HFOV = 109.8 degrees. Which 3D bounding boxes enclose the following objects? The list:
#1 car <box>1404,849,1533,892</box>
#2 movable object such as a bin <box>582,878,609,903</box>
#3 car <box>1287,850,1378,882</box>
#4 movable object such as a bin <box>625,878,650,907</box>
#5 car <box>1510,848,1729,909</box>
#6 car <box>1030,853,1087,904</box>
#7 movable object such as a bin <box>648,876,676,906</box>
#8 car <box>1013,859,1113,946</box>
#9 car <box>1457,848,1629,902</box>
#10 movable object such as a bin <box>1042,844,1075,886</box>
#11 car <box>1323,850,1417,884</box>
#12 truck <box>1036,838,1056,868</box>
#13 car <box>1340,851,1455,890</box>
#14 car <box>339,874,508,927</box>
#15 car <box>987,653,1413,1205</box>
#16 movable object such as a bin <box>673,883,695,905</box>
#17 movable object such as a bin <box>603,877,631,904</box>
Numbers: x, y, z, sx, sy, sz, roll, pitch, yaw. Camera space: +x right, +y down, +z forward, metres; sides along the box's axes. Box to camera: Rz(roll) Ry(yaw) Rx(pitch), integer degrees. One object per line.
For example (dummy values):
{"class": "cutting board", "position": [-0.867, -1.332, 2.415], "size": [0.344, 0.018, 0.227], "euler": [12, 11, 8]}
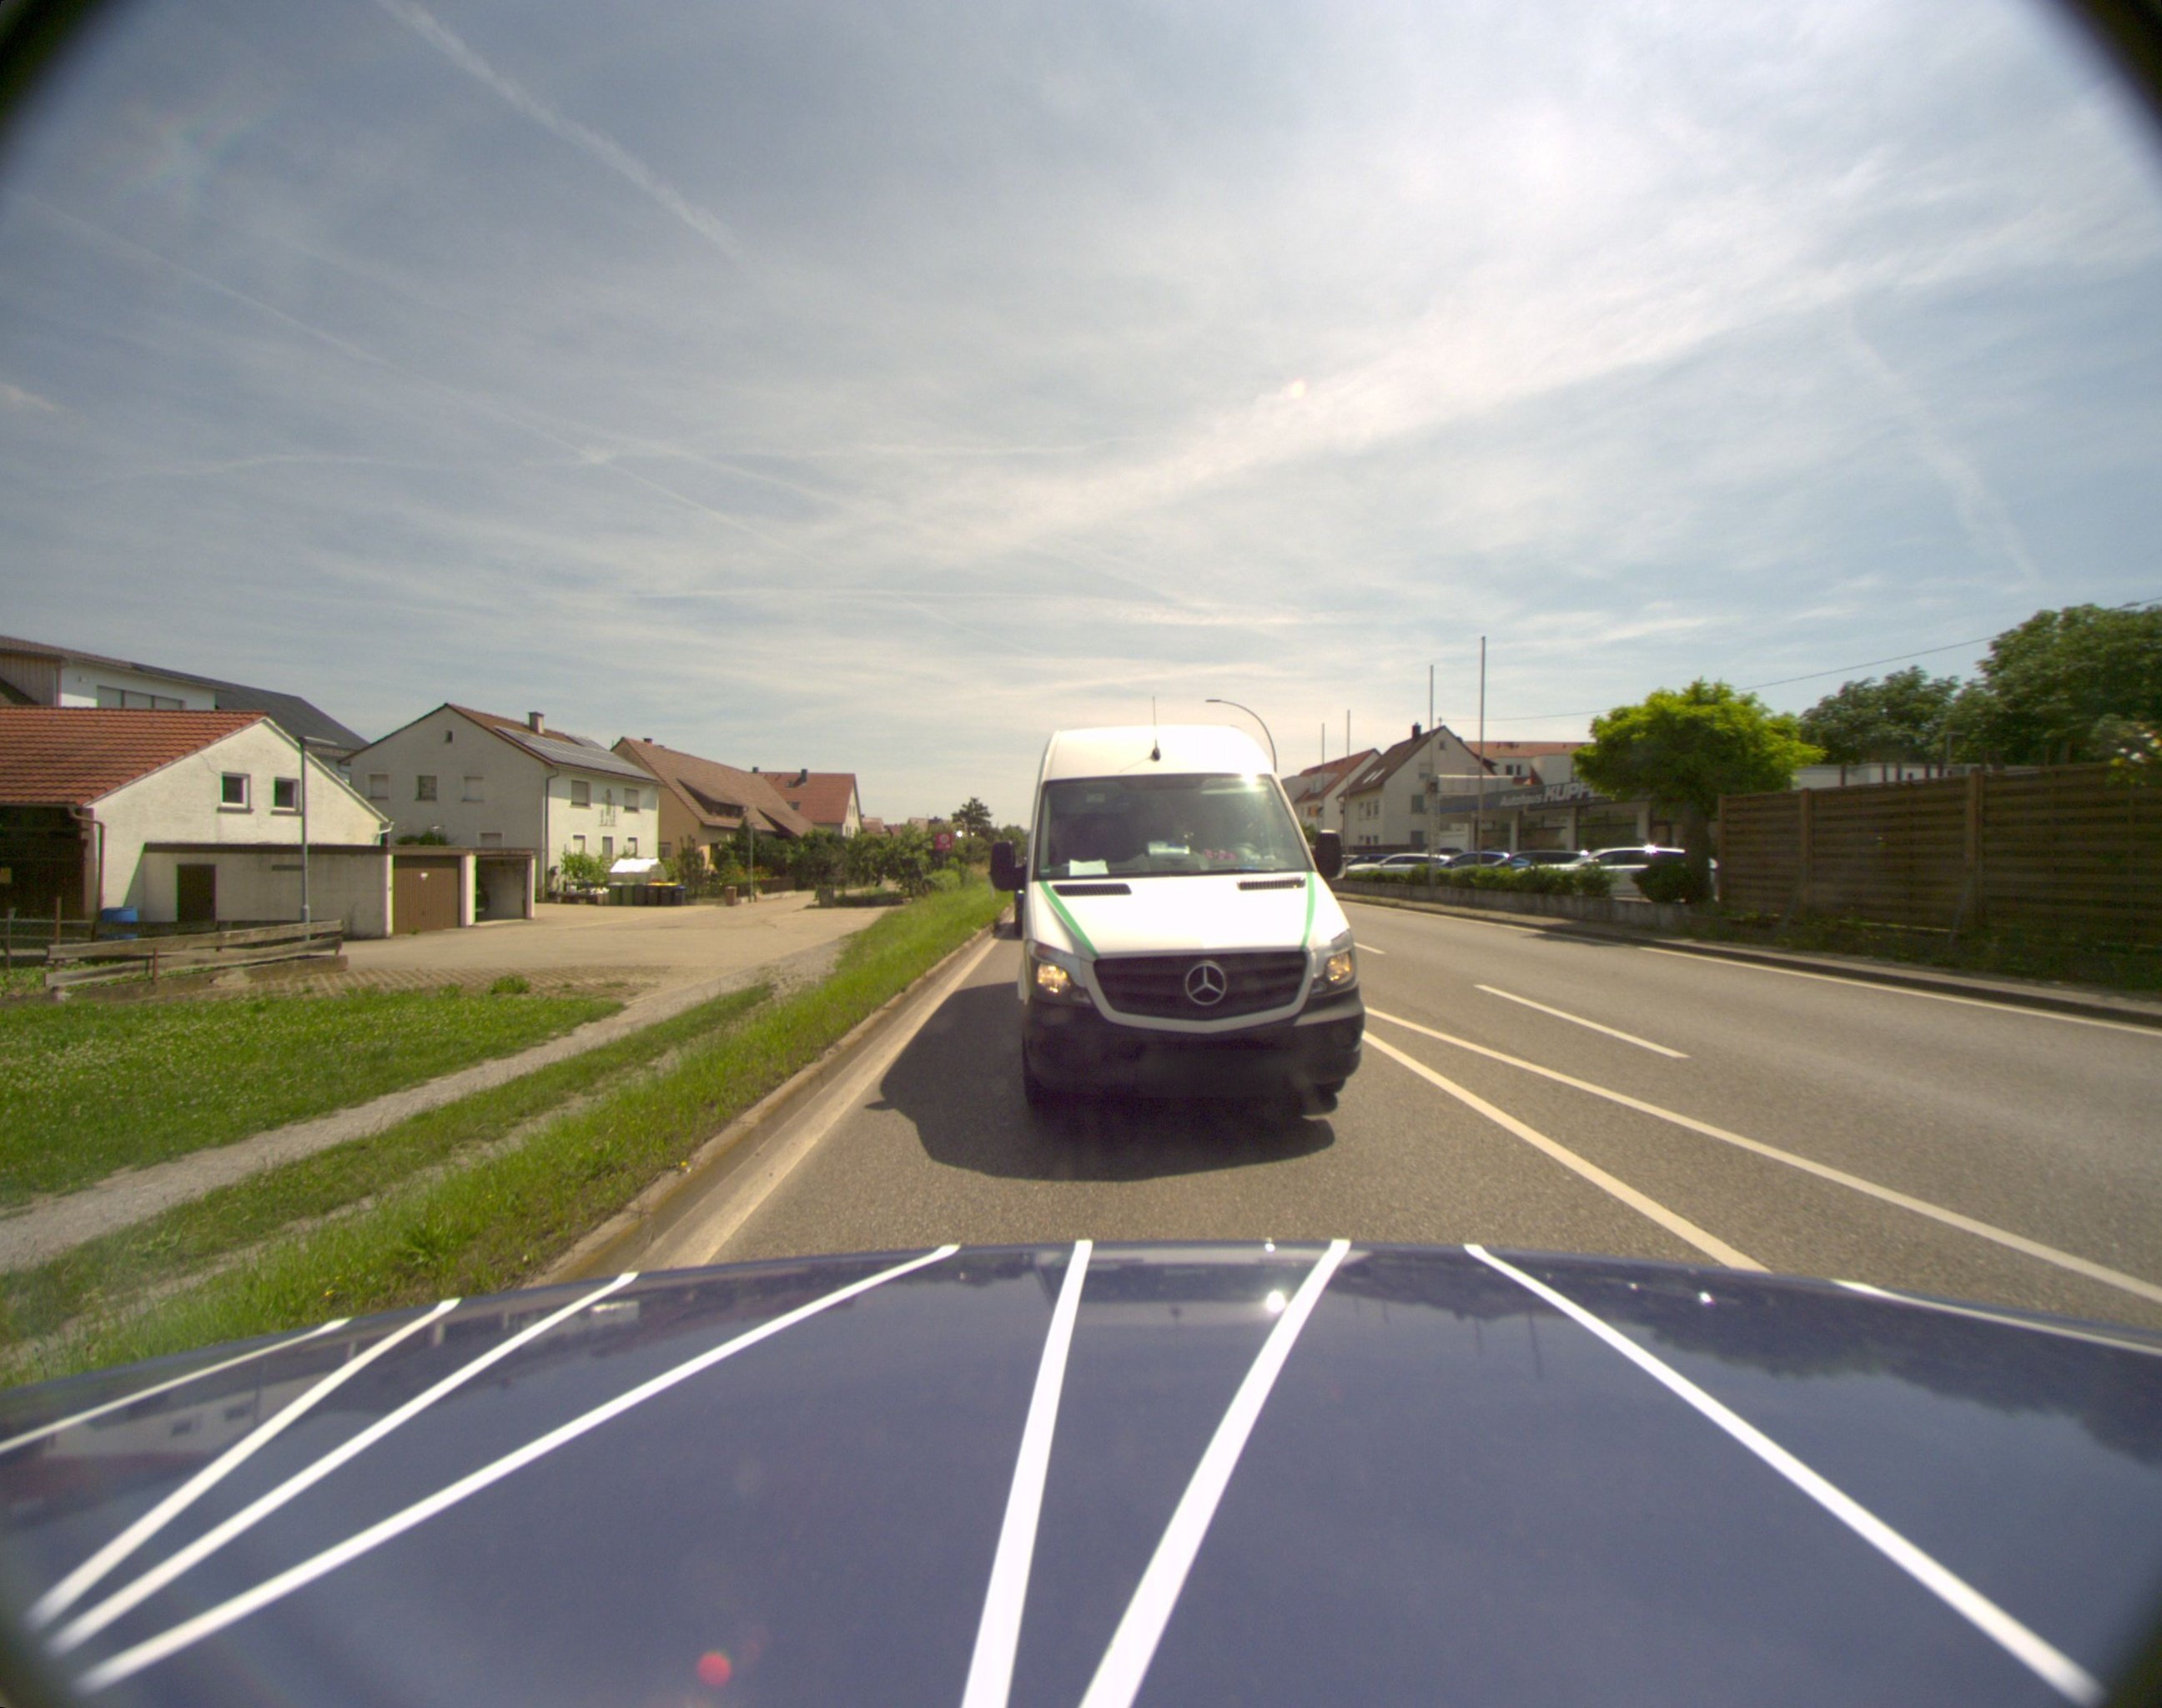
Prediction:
{"class": "car", "position": [13.834, 0.598, 27.371], "size": [3.990, 1.433, 1.857], "euler": [-2, 0, 24]}
{"class": "movable object such as a bin", "position": [-23.341, 1.737, 36.521], "size": [0.740, 1.149, 0.830], "euler": [-2, 0, -2]}
{"class": "car", "position": [13.260, 0.633, 40.058], "size": [4.255, 1.521, 2.003], "euler": [-2, 0, 25]}
{"class": "movable object such as a bin", "position": [-21.491, 1.861, 36.824], "size": [0.678, 1.330, 0.820], "euler": [-2, 0, -2]}
{"class": "car", "position": [13.732, 0.612, 19.716], "size": [4.329, 1.451, 1.858], "euler": [-1, 0, 23]}
{"class": "car", "position": [-0.781, 0.796, 26.497], "size": [1.824, 1.637, 3.901], "euler": [-1, 0, -2]}
{"class": "movable object such as a bin", "position": [-20.149, 1.786, 36.539], "size": [0.765, 1.362, 0.946], "euler": [-2, 0, -2]}
{"class": "car", "position": [-0.378, 0.899, 15.944], "size": [1.824, 1.574, 3.901], "euler": [-1, 0, -2]}
{"class": "car", "position": [14.060, 0.651, 23.429], "size": [4.251, 1.536, 1.853], "euler": [-2, 0, 22]}
{"class": "movable object such as a bin", "position": [-1.497, 0.724, 53.044], "size": [1.998, 2.710, 5.419], "euler": [-1, 0, 0]}
{"class": "car", "position": [13.664, 0.610, 35.928], "size": [3.990, 1.455, 2.003], "euler": [-2, 0, 25]}
{"class": "truck", "position": [-4.635, -0.124, 101.560], "size": [2.506, 3.847, 5.496], "euler": [-1, 0, -2]}
{"class": "car", "position": [13.248, 0.690, 31.796], "size": [4.303, 1.510, 2.003], "euler": [-2, 0, 26]}
{"class": "car", "position": [-21.735, 1.513, 25.245], "size": [3.997, 1.594, 1.826], "euler": [-1, 0, 0]}
{"class": "car", "position": [0.516, 0.362, 6.453], "size": [1.978, 2.584, 5.633], "euler": [-2, 0, -1]}
{"class": "movable object such as a bin", "position": [-19.142, 1.922, 36.641], "size": [0.645, 1.021, 0.756], "euler": [-2, 0, -2]}
{"class": "movable object such as a bin", "position": [-22.410, 1.769, 36.701], "size": [0.745, 1.239, 0.889], "euler": [-2, 0, -2]}
